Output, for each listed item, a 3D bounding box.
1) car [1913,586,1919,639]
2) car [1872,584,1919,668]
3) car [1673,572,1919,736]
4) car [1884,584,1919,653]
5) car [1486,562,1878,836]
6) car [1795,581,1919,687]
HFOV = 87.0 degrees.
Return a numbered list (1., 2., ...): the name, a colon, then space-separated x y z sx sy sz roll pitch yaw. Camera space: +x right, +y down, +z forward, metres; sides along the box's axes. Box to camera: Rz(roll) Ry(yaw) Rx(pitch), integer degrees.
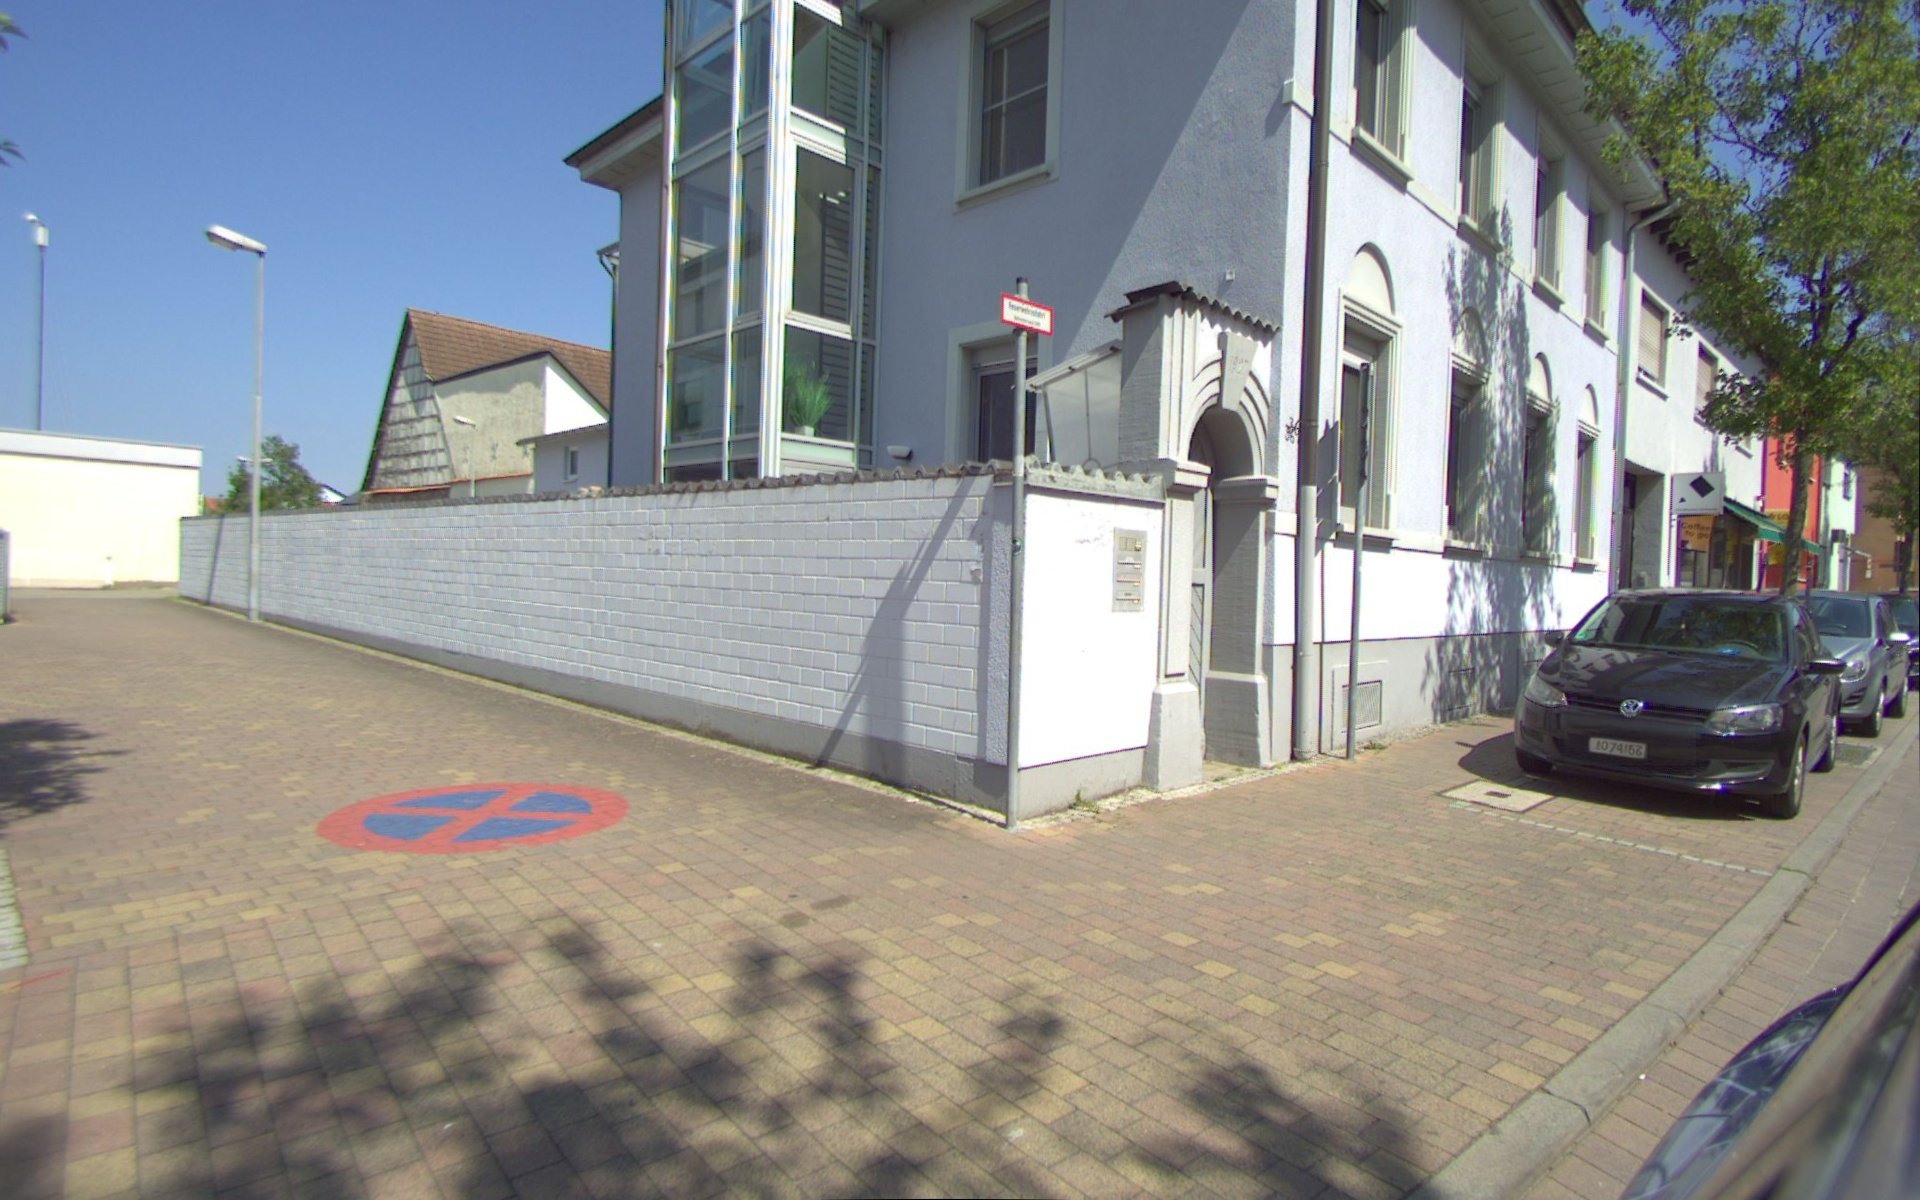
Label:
1. car: 30.505 0.432 30.949 3.930 1.562 1.713 1 2 -43
2. car: 20.023 0.498 20.739 1.830 1.608 4.023 2 2 44
3. car: 9.806 0.495 11.636 4.025 1.499 1.721 0 3 -42
4. car: 25.925 0.434 26.833 4.586 1.705 1.868 -1 1 -45
5. car: 5.662 0.542 7.748 3.857 1.499 1.706 0 4 -44
6. car: 15.295 0.521 16.802 3.673 1.532 1.739 1 2 -44
